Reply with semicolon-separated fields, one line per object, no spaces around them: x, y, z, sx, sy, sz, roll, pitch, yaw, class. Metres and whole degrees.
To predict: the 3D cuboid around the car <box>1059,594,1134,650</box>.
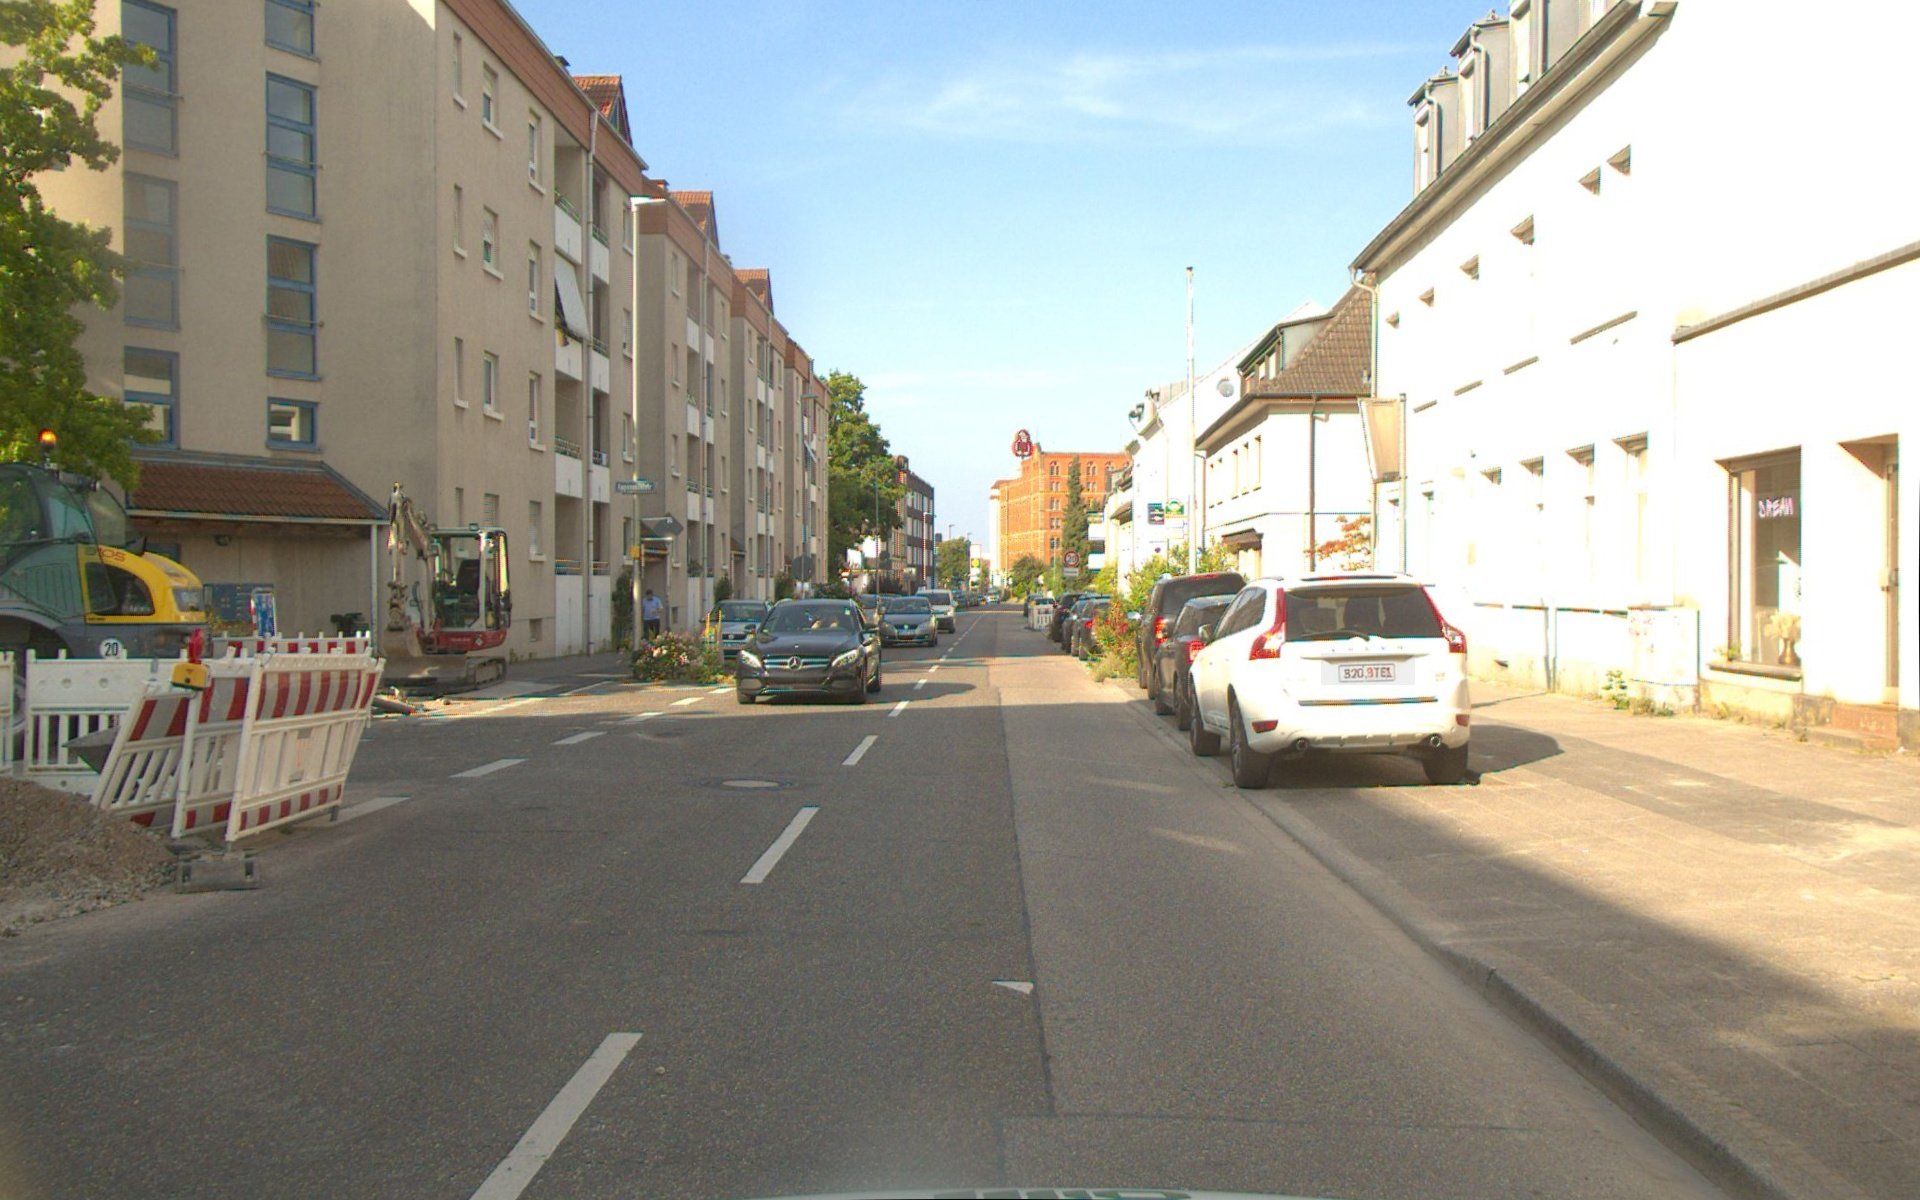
3.728;0.568;45.837;1.792;1.445;4.610;0;0;1;car

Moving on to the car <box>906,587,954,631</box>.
-1.218;0.351;69.319;1.882;1.798;4.338;0;0;0;car

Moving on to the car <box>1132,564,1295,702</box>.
3.786;0.430;25.487;2.032;1.888;4.612;-1;1;3;car

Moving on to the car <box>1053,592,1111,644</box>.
4.139;0.646;56.601;1.792;1.659;4.464;2;-1;2;car

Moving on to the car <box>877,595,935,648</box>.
-1.590;0.609;49.567;1.584;1.480;3.685;-1;0;0;car

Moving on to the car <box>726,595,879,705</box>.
-2.202;0.663;24.122;1.792;1.445;4.209;0;0;0;car

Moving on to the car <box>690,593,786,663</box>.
-4.794;0.575;36.079;1.607;1.420;3.671;-1;0;0;car

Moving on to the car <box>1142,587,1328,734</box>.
3.236;0.660;20.257;1.556;1.555;4.614;-1;0;1;car

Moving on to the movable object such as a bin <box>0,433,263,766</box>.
-9.626;-0.034;15.476;5.404;2.951;2.104;1;1;-14;movable object such as a bin

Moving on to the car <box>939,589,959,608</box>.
-1.150;-0.159;170.724;1.952;1.914;4.001;0;0;2;car

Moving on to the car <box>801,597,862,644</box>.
-4.222;0.651;54.792;1.651;1.430;4.084;1;0;0;car

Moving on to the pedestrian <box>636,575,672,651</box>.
-7.547;0.316;40.819;0.704;1.850;0.745;1;0;1;pedestrian

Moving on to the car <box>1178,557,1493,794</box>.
3.059;0.531;14.415;1.775;1.713;4.477;-1;1;1;car

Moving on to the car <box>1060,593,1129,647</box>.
4.112;0.596;51.299;1.792;1.587;4.317;-1;0;0;car

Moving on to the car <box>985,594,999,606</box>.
4.241;-0.023;219.505;1.727;1.644;4.001;-1;0;1;car

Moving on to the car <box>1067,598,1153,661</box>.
3.620;0.678;40.584;1.743;1.445;4.496;0;0;0;car

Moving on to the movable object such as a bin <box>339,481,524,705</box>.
-8.070;-0.132;25.602;1.614;3.193;3.900;0;1;0;movable object such as a bin

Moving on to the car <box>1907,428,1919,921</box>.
3.095;0.484;1.596;1.741;1.771;4.483;-2;0;0;car
